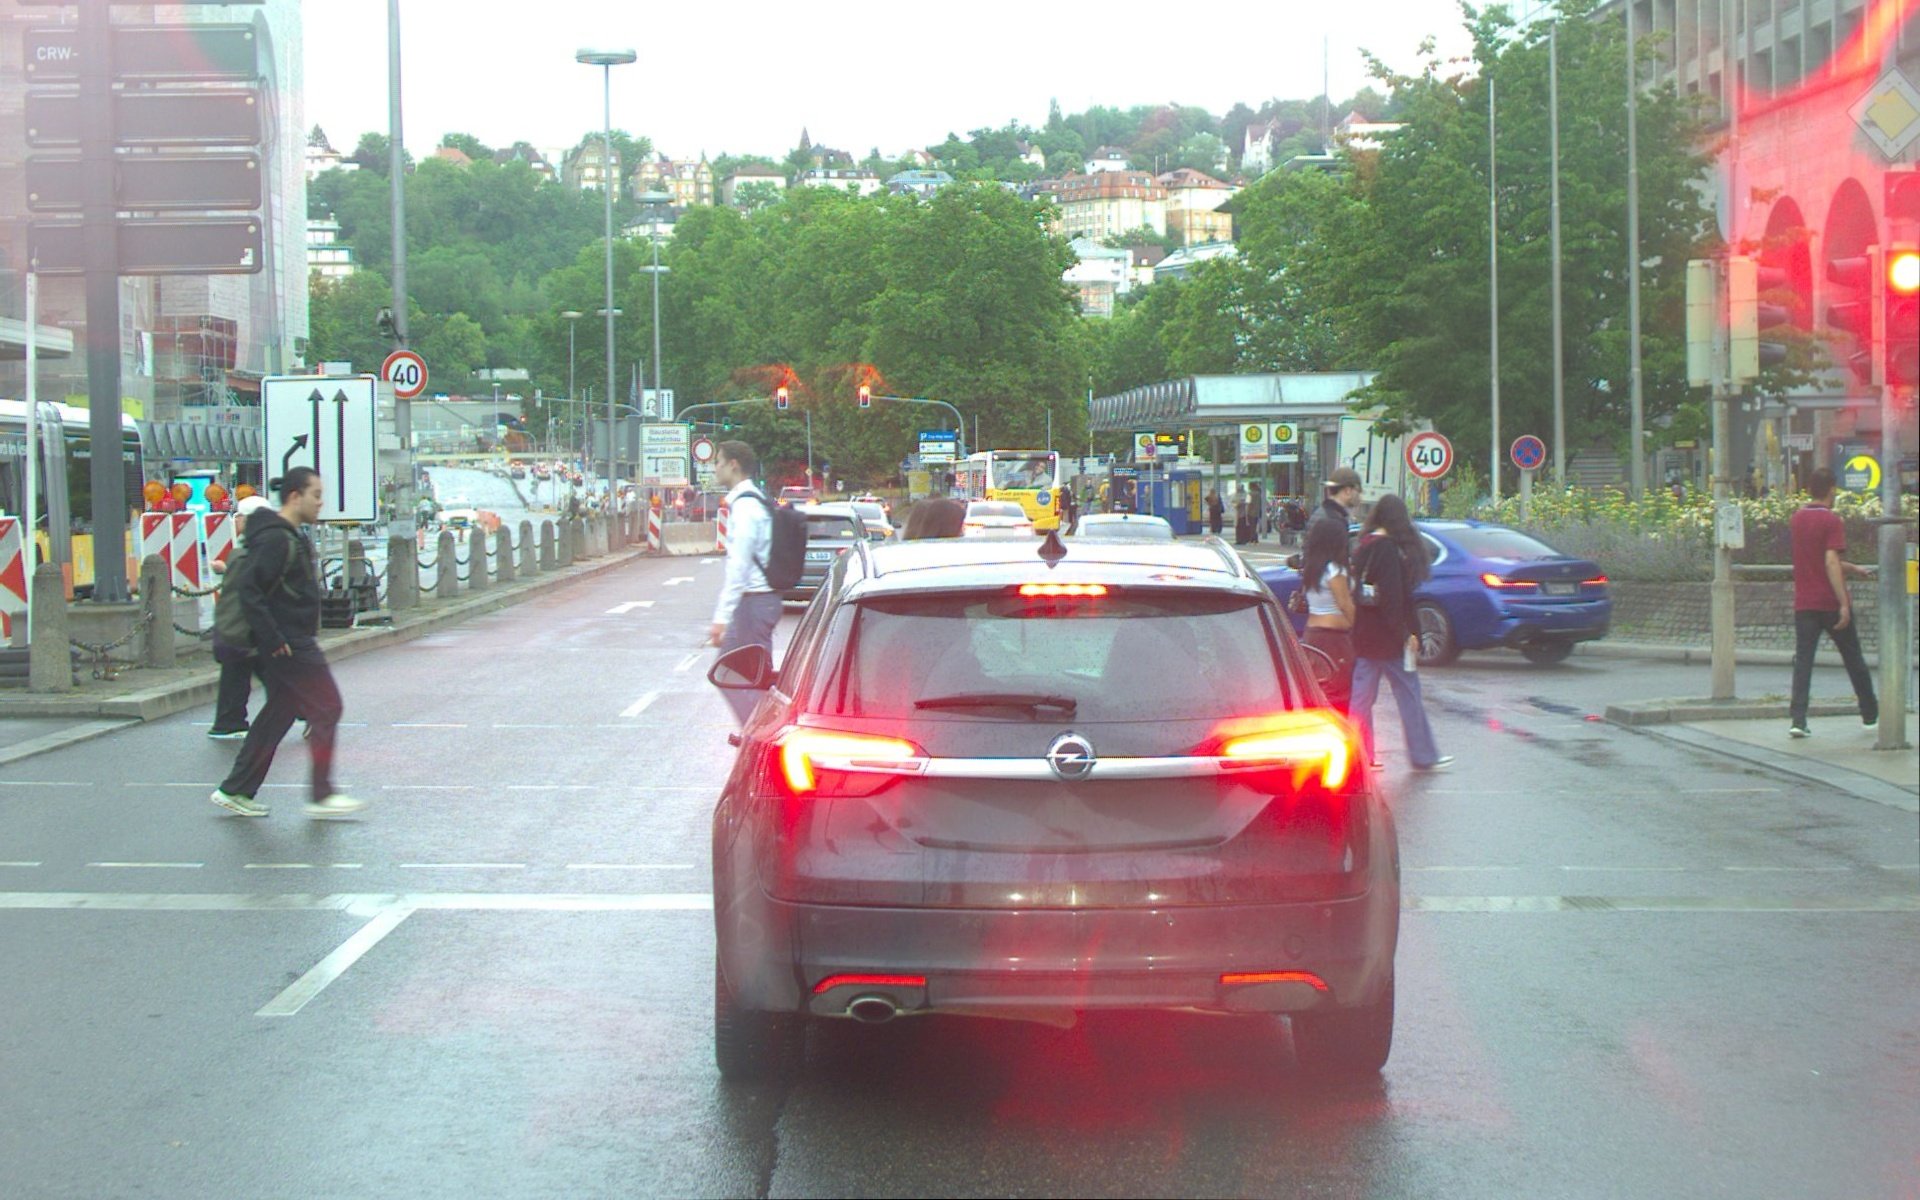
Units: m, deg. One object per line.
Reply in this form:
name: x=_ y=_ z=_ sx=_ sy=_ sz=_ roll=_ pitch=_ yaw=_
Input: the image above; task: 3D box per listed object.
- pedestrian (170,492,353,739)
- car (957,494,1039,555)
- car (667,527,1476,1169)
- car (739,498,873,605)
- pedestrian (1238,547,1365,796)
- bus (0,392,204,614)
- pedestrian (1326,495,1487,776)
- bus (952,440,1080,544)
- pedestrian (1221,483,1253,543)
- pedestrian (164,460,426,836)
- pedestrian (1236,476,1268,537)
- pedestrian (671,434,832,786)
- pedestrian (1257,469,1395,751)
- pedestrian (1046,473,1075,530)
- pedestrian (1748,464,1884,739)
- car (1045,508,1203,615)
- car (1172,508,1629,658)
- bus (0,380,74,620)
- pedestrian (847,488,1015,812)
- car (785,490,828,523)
pedestrian: x=-4.515 y=0.089 z=22.218 sx=0.873 sy=1.555 sz=0.787 roll=0 pitch=1 yaw=-40
car: x=0.879 y=-1.793 z=81.860 sx=1.845 sy=1.393 sz=3.564 roll=1 pitch=1 yaw=-1
car: x=0.225 y=0.549 z=10.046 sx=1.874 sy=1.481 sz=4.000 roll=1 pitch=1 yaw=-1
car: x=-2.114 y=-0.681 z=47.821 sx=1.753 sy=1.393 sz=4.538 roll=1 pitch=1 yaw=-2
pedestrian: x=2.045 y=0.421 z=20.587 sx=0.678 sy=1.469 sz=0.366 roll=1 pitch=1 yaw=-5
bus: x=-15.826 y=-1.678 z=60.942 sx=2.668 sy=3.589 sz=10.212 roll=1 pitch=1 yaw=-1
pedestrian: x=2.593 y=0.200 z=20.024 sx=0.799 sy=1.603 sz=0.620 roll=1 pitch=1 yaw=-4
bus: x=1.869 y=-3.765 z=123.257 sx=4.173 sy=3.457 sz=14.655 roll=1 pitch=1 yaw=-1
pedestrian: x=7.870 y=-2.459 z=97.753 sx=0.763 sy=1.684 sz=0.825 roll=1 pitch=1 yaw=-5
pedestrian: x=-3.218 y=0.222 z=16.705 sx=1.096 sy=1.745 sz=0.654 roll=-2 pitch=1 yaw=-3
pedestrian: x=8.200 y=-2.617 z=96.543 sx=0.763 sy=1.684 sz=0.825 roll=1 pitch=1 yaw=-5
pedestrian: x=-1.147 y=0.052 z=18.804 sx=0.798 sy=1.884 sz=0.620 roll=1 pitch=1 yaw=-9
pedestrian: x=2.250 y=0.057 z=21.180 sx=0.755 sy=1.711 sz=0.466 roll=1 pitch=1 yaw=-4
pedestrian: x=4.282 y=-4.212 z=147.042 sx=1.199 sy=2.427 sz=1.228 roll=1 pitch=1 yaw=1
pedestrian: x=5.546 y=0.002 z=22.265 sx=0.570 sy=1.746 sz=0.679 roll=2 pitch=1 yaw=42
car: x=2.226 y=-0.546 z=47.661 sx=1.753 sy=1.393 sz=4.403 roll=1 pitch=1 yaw=-3
car: x=4.318 y=-0.211 z=34.379 sx=1.753 sy=1.393 sz=4.648 roll=0 pitch=1 yaw=-37
bus: x=-15.709 y=-1.500 z=50.757 sx=2.668 sy=3.589 sz=10.240 roll=1 pitch=1 yaw=-1
pedestrian: x=-0.159 y=0.246 z=17.754 sx=0.793 sy=1.620 sz=0.900 roll=1 pitch=1 yaw=-4
car: x=-6.791 y=-4.141 z=152.344 sx=1.759 sy=1.393 sz=3.564 roll=1 pitch=1 yaw=-1
